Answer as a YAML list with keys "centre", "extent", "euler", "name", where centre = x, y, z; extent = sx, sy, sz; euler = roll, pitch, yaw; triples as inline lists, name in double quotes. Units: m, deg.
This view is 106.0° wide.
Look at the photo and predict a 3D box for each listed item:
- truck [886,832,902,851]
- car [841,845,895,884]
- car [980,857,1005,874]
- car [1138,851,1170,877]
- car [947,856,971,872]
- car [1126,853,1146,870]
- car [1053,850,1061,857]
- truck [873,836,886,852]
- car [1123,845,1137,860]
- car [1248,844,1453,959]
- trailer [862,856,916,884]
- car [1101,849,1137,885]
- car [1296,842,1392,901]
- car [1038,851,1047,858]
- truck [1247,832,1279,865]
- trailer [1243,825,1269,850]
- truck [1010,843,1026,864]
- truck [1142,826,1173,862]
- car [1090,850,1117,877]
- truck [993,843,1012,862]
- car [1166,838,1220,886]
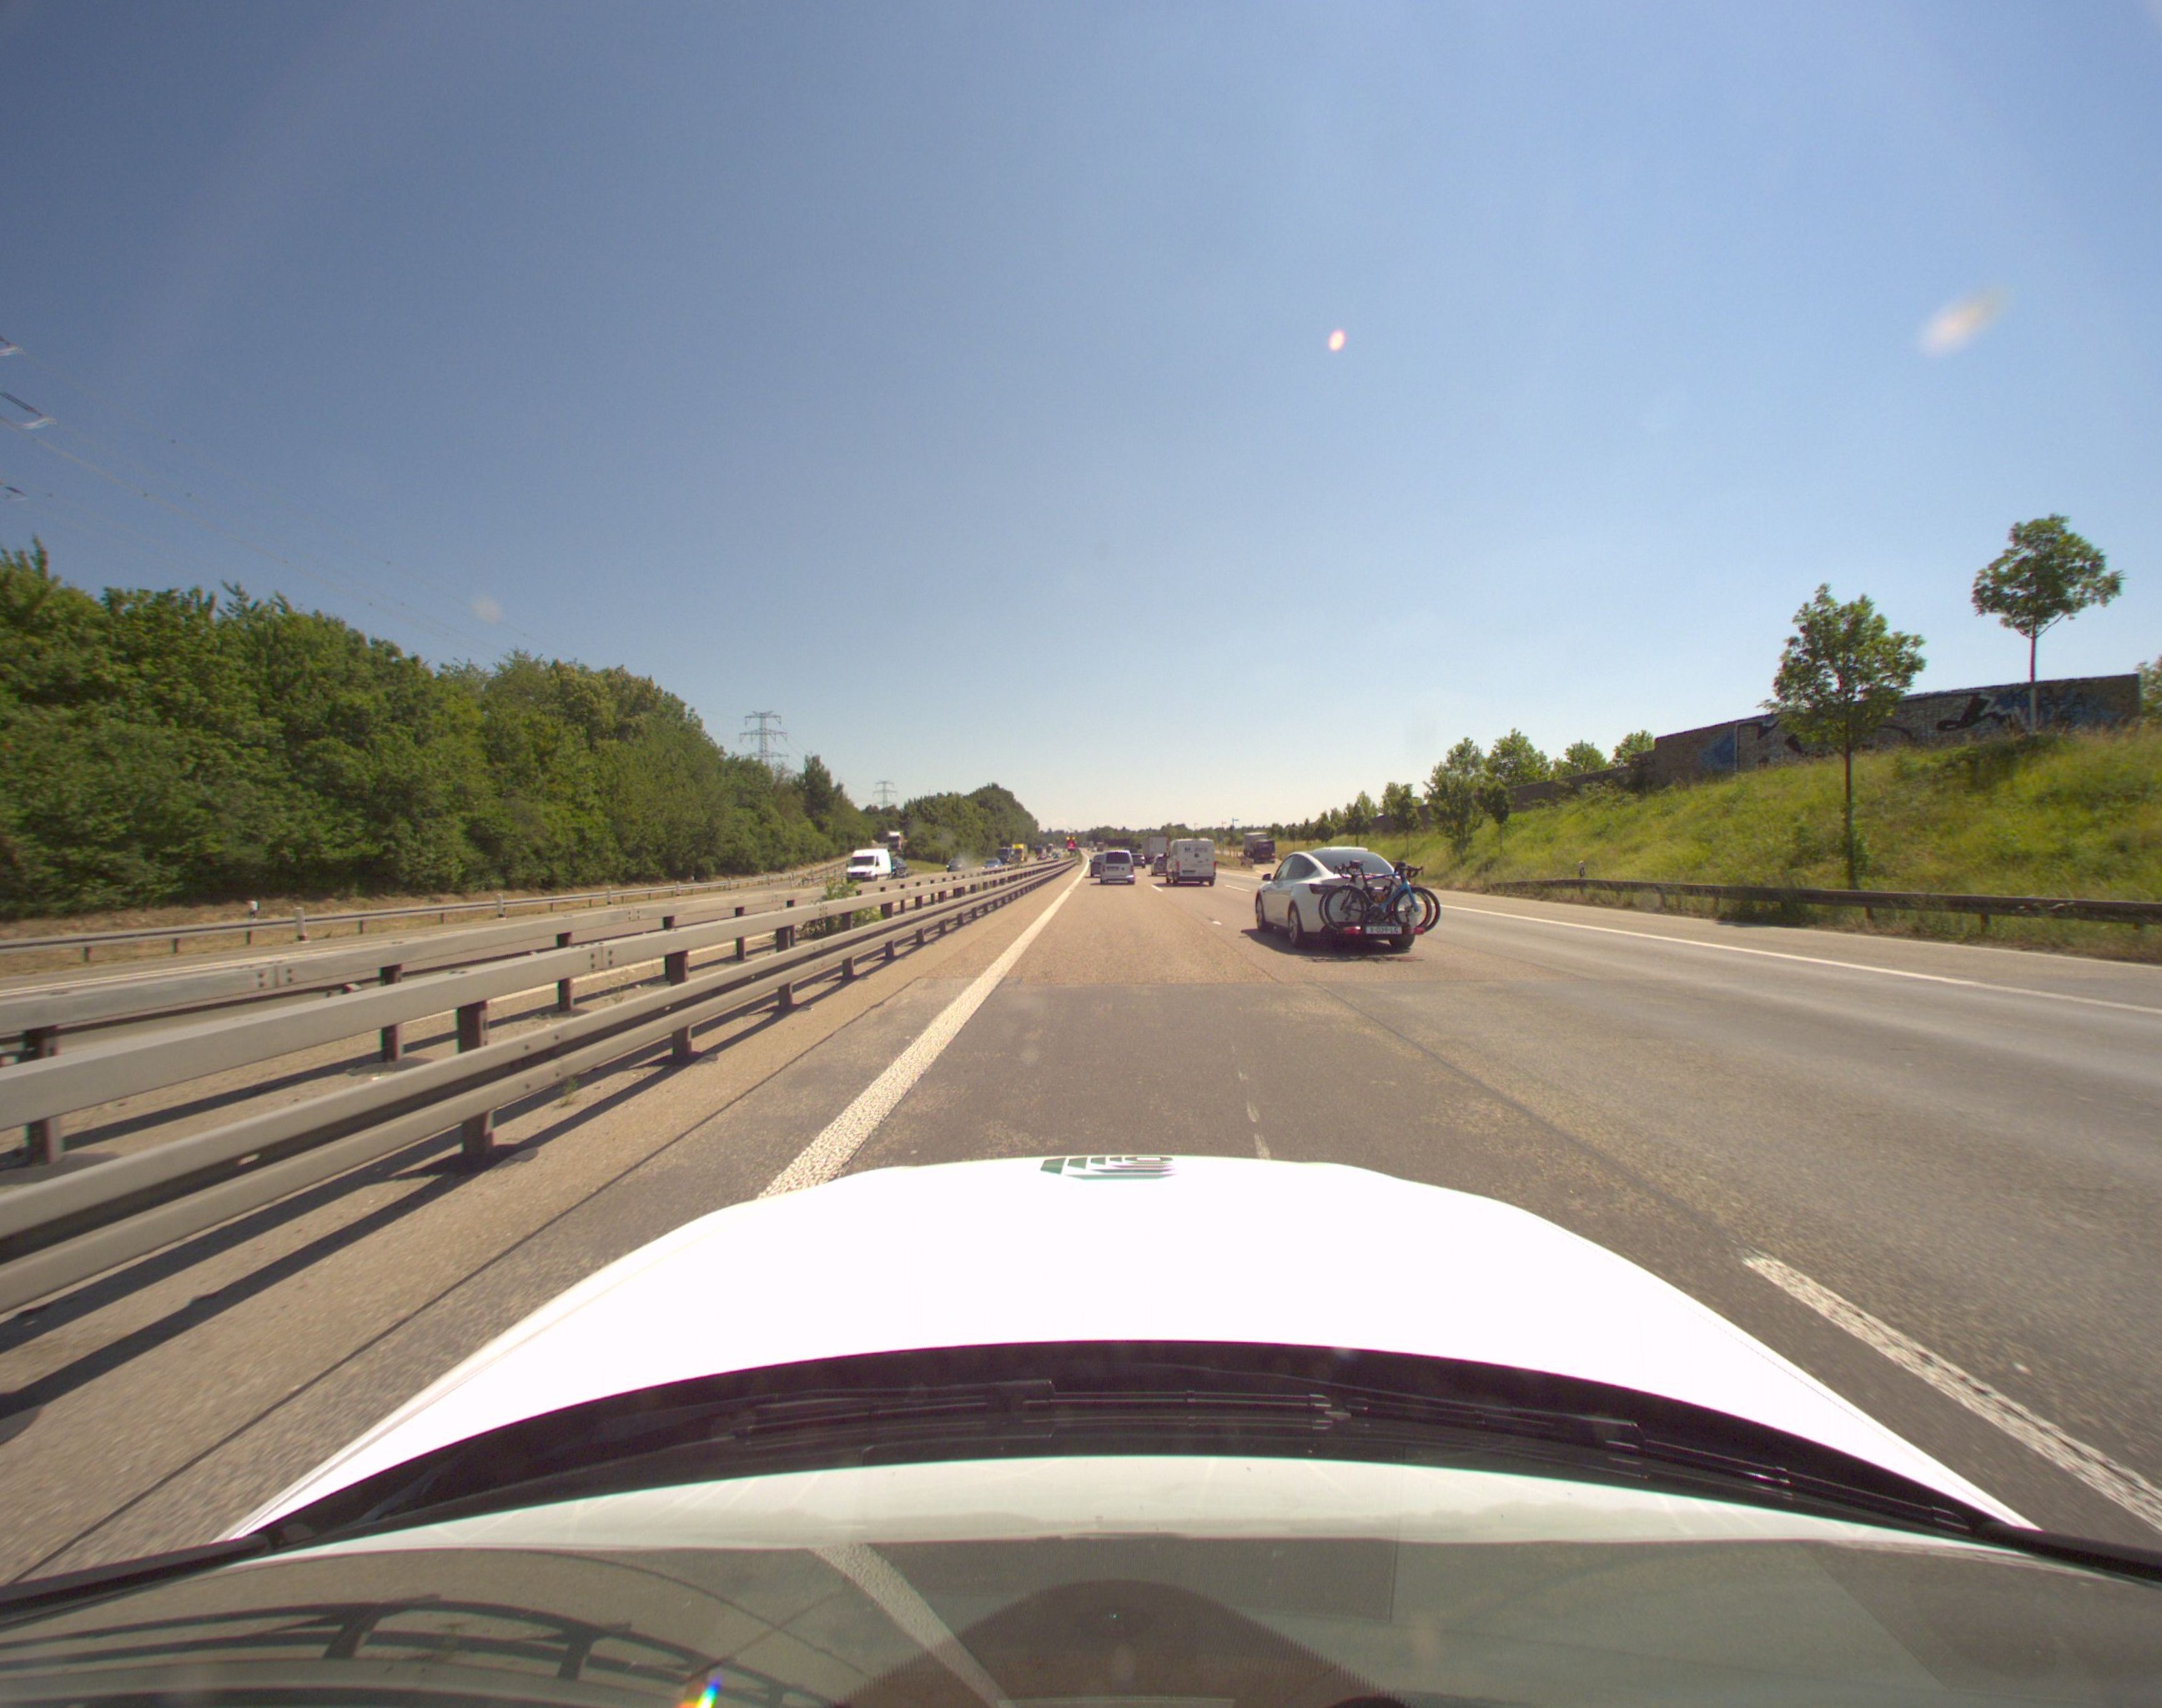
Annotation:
- centre: [-39.958, -2.645, 174.078]
  extent: [2.942, 3.894, 4.314]
  euler: [-2, 2, -8]
  name: "truck"
- centre: [-15.337, 0.712, 59.026]
  extent: [2.102, 2.639, 6.005]
  euler: [-3, 0, 1]
  name: "car"
- centre: [-8.628, 1.085, 80.069]
  extent: [1.775, 1.473, 4.357]
  euler: [-3, 0, 2]
  name: "car"
- centre: [5.180, 0.682, 57.978]
  extent: [1.968, 1.733, 4.090]
  euler: [-2, 0, 2]
  name: "car"
- centre: [-14.339, 1.148, 95.890]
  extent: [2.151, 1.800, 4.511]
  euler: [-3, 0, -1]
  name: "car"
- centre: [5.851, 0.782, 86.828]
  extent: [1.895, 1.672, 4.090]
  euler: [-2, 0, 2]
  name: "car"
- centre: [-5.923, -0.189, 203.807]
  extent: [1.775, 1.624, 4.001]
  euler: [-2, 0, 1]
  name: "car"
- centre: [-49.974, -2.455, 202.461]
  extent: [2.551, 4.008, 11.745]
  euler: [0, 0, -11]
  name: "truck"
- centre: [6.366, -0.165, 105.387]
  extent: [1.668, 1.891, 4.090]
  euler: [-2, 0, 2]
  name: "car"
- centre: [4.417, 0.671, 14.419]
  extent: [1.943, 1.636, 5.603]
  euler: [0, 0, 2]
  name: "car"
- centre: [-15.306, 1.222, 65.347]
  extent: [2.756, 1.945, 6.721]
  euler: [-3, 0, -1]
  name: "trailer"
- centre: [1.967, 0.647, 42.981]
  extent: [1.738, 1.764, 4.090]
  euler: [-2, 0, 2]
  name: "car"
- centre: [9.052, 0.549, 28.386]
  extent: [1.944, 1.837, 4.177]
  euler: [-2, 0, 0]
  name: "car"
- centre: [-9.135, 0.044, 193.780]
  extent: [1.776, 1.530, 4.384]
  euler: [-4, 0, 0]
  name: "car"
- centre: [23.799, -0.672, 106.518]
  extent: [3.762, 4.083, 12.562]
  euler: [0, 0, 13]
  name: "truck"
- centre: [29.632, -2.705, 138.267]
  extent: [3.036, 4.083, 14.287]
  euler: [0, 0, 7]
  name: "trailer"
- centre: [-13.712, -0.088, 178.341]
  extent: [3.165, 4.341, 3.512]
  euler: [-2, 0, -1]
  name: "truck"
- centre: [11.017, -1.356, 118.480]
  extent: [3.774, 4.999, 12.523]
  euler: [0, 0, 2]
  name: "truck"
- centre: [1.559, 0.612, 55.954]
  extent: [1.738, 1.701, 4.090]
  euler: [-2, 0, 2]
  name: "car"
- centre: [-14.837, -0.282, 153.803]
  extent: [2.904, 3.300, 5.332]
  euler: [-2, 0, 1]
  name: "truck"
- centre: [5.572, 0.353, 41.148]
  extent: [2.173, 2.254, 5.365]
  euler: [0, 0, 2]
  name: "car"
